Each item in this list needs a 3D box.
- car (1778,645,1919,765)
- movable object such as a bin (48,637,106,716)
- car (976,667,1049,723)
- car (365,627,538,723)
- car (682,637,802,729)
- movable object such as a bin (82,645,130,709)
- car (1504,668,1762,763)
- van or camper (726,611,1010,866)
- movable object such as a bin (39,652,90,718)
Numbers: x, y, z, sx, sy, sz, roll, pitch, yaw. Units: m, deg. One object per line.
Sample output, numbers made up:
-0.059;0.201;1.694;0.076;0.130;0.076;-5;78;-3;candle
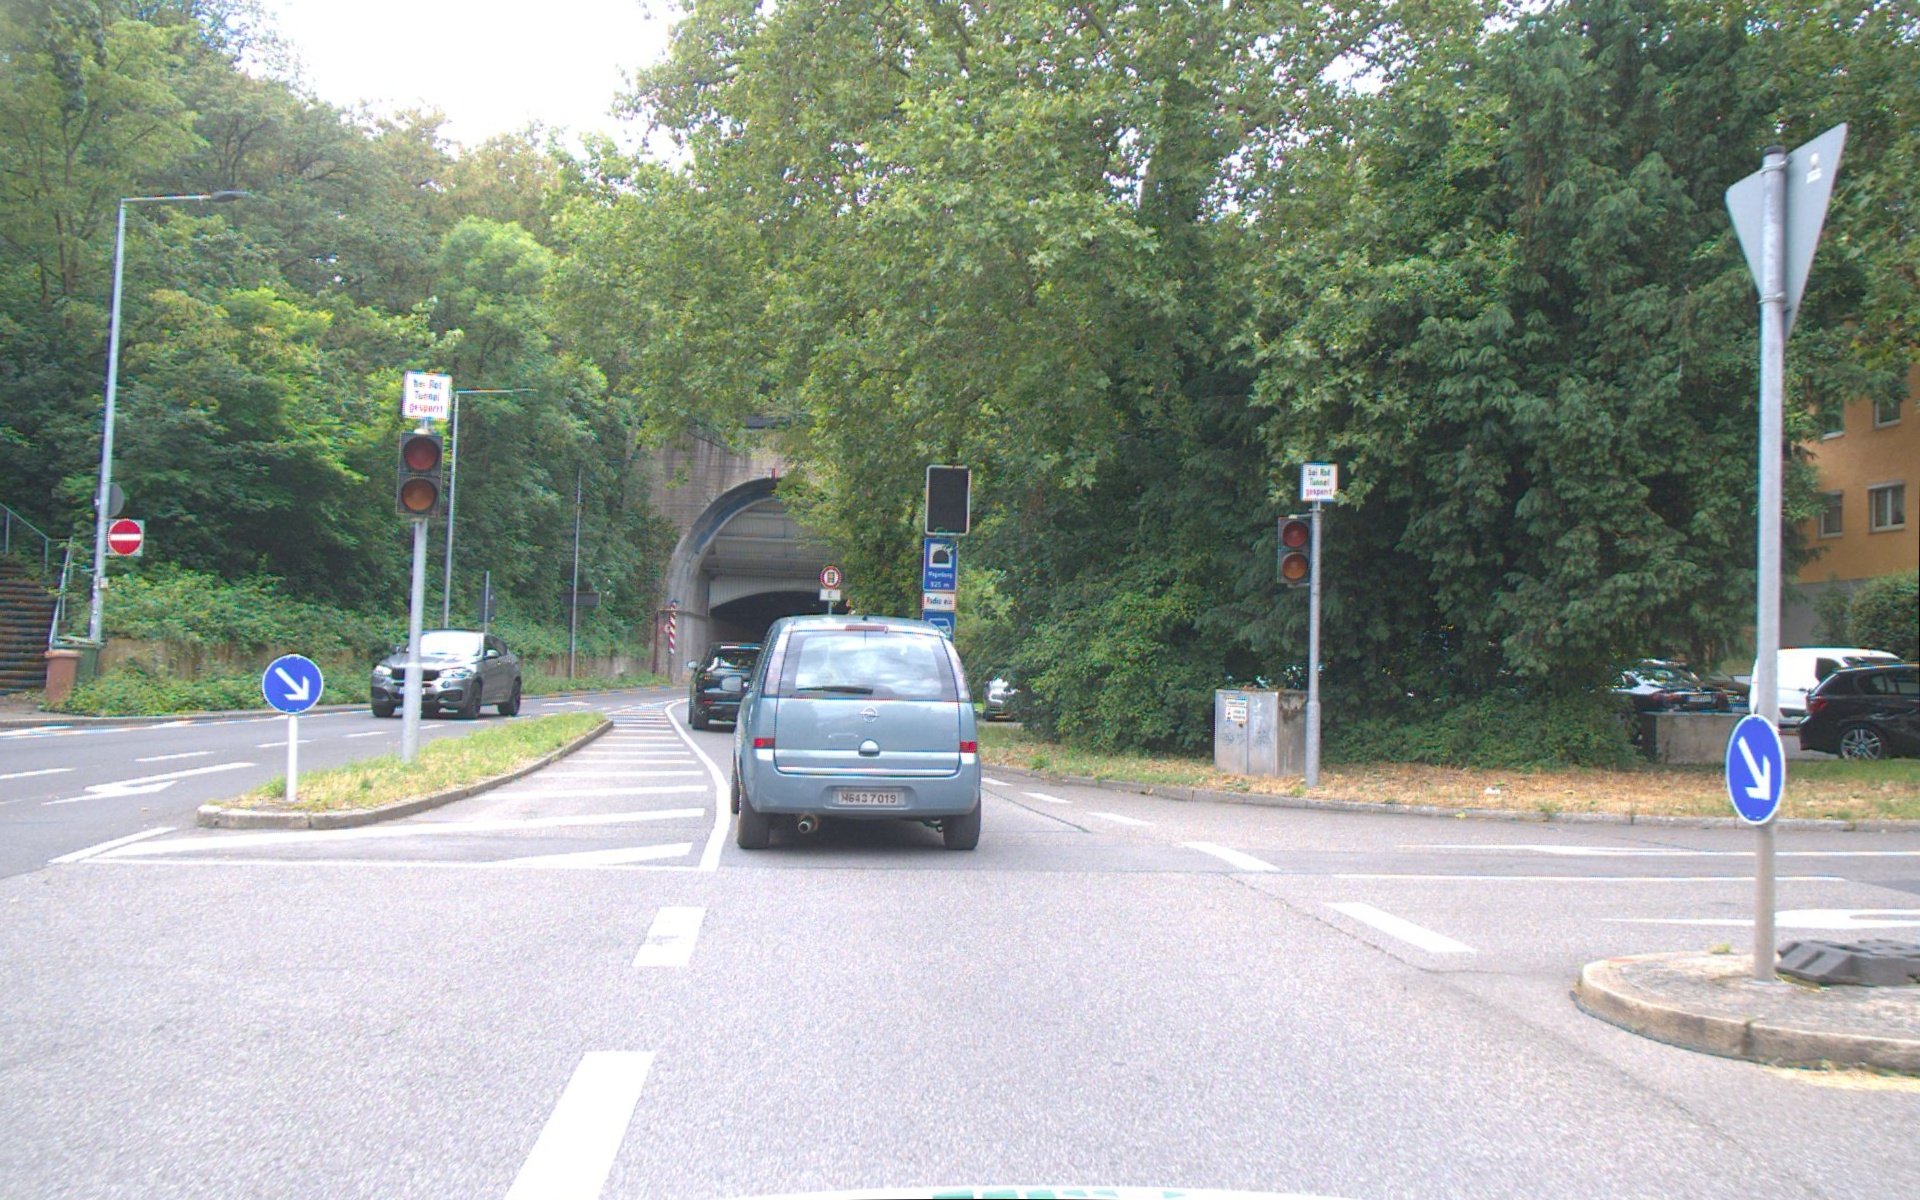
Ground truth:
13.587;1.355;22.216;4.338;1.511;1.856;-5;-3;36;car
-14.175;1.220;26.558;0.594;1.206;0.491;5;-2;-11;movable object such as a bin
1.411;2.615;46.362;1.749;1.467;5.060;1;-2;-1;car
-10.040;1.480;33.101;1.831;1.728;4.935;1;-2;1;car
-4.326;1.602;32.387;1.959;1.682;3.986;1;-2;-13;car
-14.592;1.307;28.273;0.545;1.043;0.429;5;-2;-11;movable object such as a bin
12.525;2.099;31.172;1.961;1.606;4.884;1;-2;-15;car
-0.830;0.924;12.384;1.704;1.606;3.637;1;-1;-10;van or camper
-14.077;1.332;26.019;0.507;0.984;0.443;5;-2;-11;movable object such as a bin
